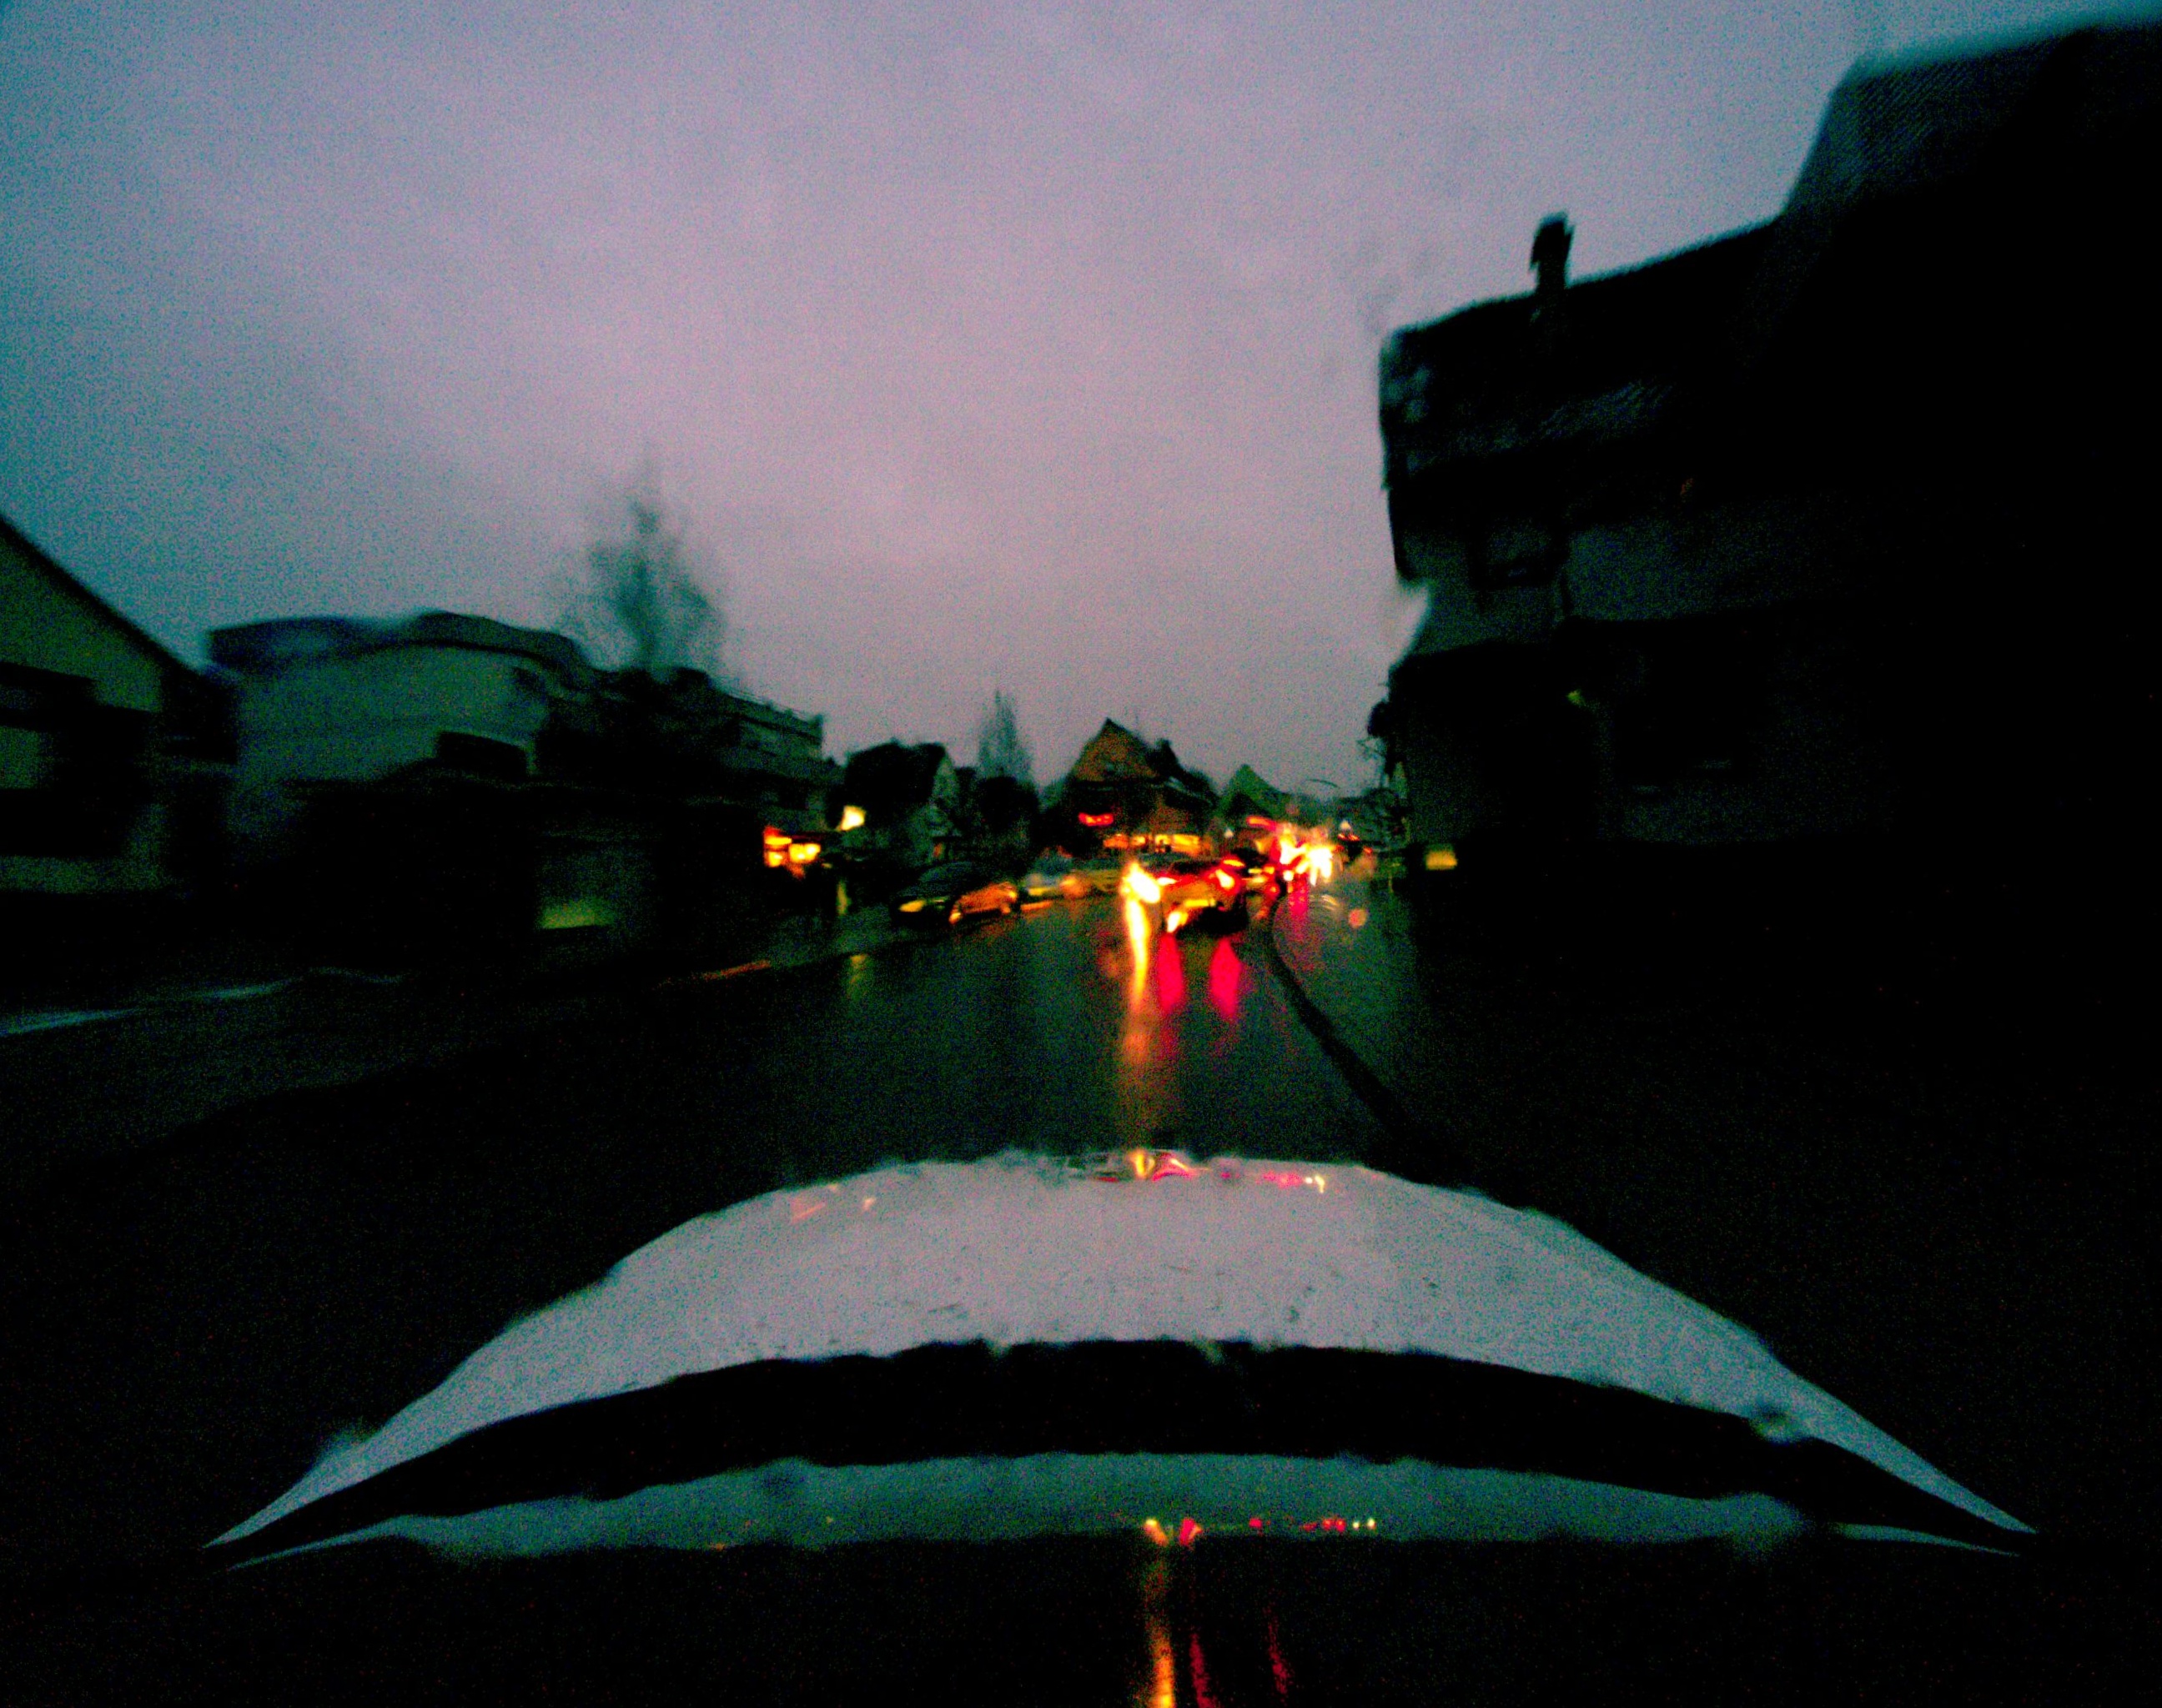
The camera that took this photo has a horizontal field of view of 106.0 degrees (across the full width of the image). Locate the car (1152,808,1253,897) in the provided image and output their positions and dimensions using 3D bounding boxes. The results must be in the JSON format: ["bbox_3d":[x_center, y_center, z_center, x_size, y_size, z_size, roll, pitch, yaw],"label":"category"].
[{"bbox_3d":[2.989,-0.052,19.200,1.980,1.795,4.664,-2,0,12],"label":"car"}]

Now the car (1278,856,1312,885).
[{"bbox_3d":[11.596,0.844,43.917,1.637,1.442,3.883,-2,-1,16],"label":"car"}]

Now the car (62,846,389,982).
[{"bbox_3d":[-13.205,0.898,12.665,3.686,1.904,1.766,-2,0,12],"label":"car"}]

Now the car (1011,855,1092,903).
[{"bbox_3d":[-0.958,0.816,28.362,1.679,1.516,3.789,0,0,17],"label":"car"}]

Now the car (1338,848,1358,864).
[{"bbox_3d":[25.244,0.133,76.993,1.521,1.245,3.666,-7,-1,21],"label":"car"}]

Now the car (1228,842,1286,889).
[{"bbox_3d":[6.649,0.415,30.458,1.784,1.662,4.017,-1,0,17],"label":"car"}]

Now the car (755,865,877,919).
[{"bbox_3d":[-8.236,1.172,25.161,4.036,1.477,1.750,-3,-1,42],"label":"car"}]

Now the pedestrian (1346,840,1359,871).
[{"bbox_3d":[17.113,0.099,51.360,0.657,1.888,0.829,-1,-1,26],"label":"pedestrian"}]

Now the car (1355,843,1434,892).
[{"bbox_3d":[10.939,0.406,28.202,1.865,1.466,4.571,-3,-1,29],"label":"car"}]

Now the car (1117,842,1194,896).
[{"bbox_3d":[2.950,0.528,31.263,2.125,1.860,4.761,-1,0,15],"label":"car"}]

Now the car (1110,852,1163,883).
[{"bbox_3d":[2.911,0.658,41.709,1.656,1.516,4.020,0,0,20],"label":"car"}]

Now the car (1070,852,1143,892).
[{"bbox_3d":[1.137,0.693,33.845,1.734,1.516,4.364,0,0,21],"label":"car"}]

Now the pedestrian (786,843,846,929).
[{"bbox_3d":[-5.941,0.703,18.300,0.747,1.866,1.066,-2,-1,20],"label":"pedestrian"}]

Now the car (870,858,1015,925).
[{"bbox_3d":[-3.358,0.864,20.724,1.733,1.472,4.479,0,0,18],"label":"car"}]
